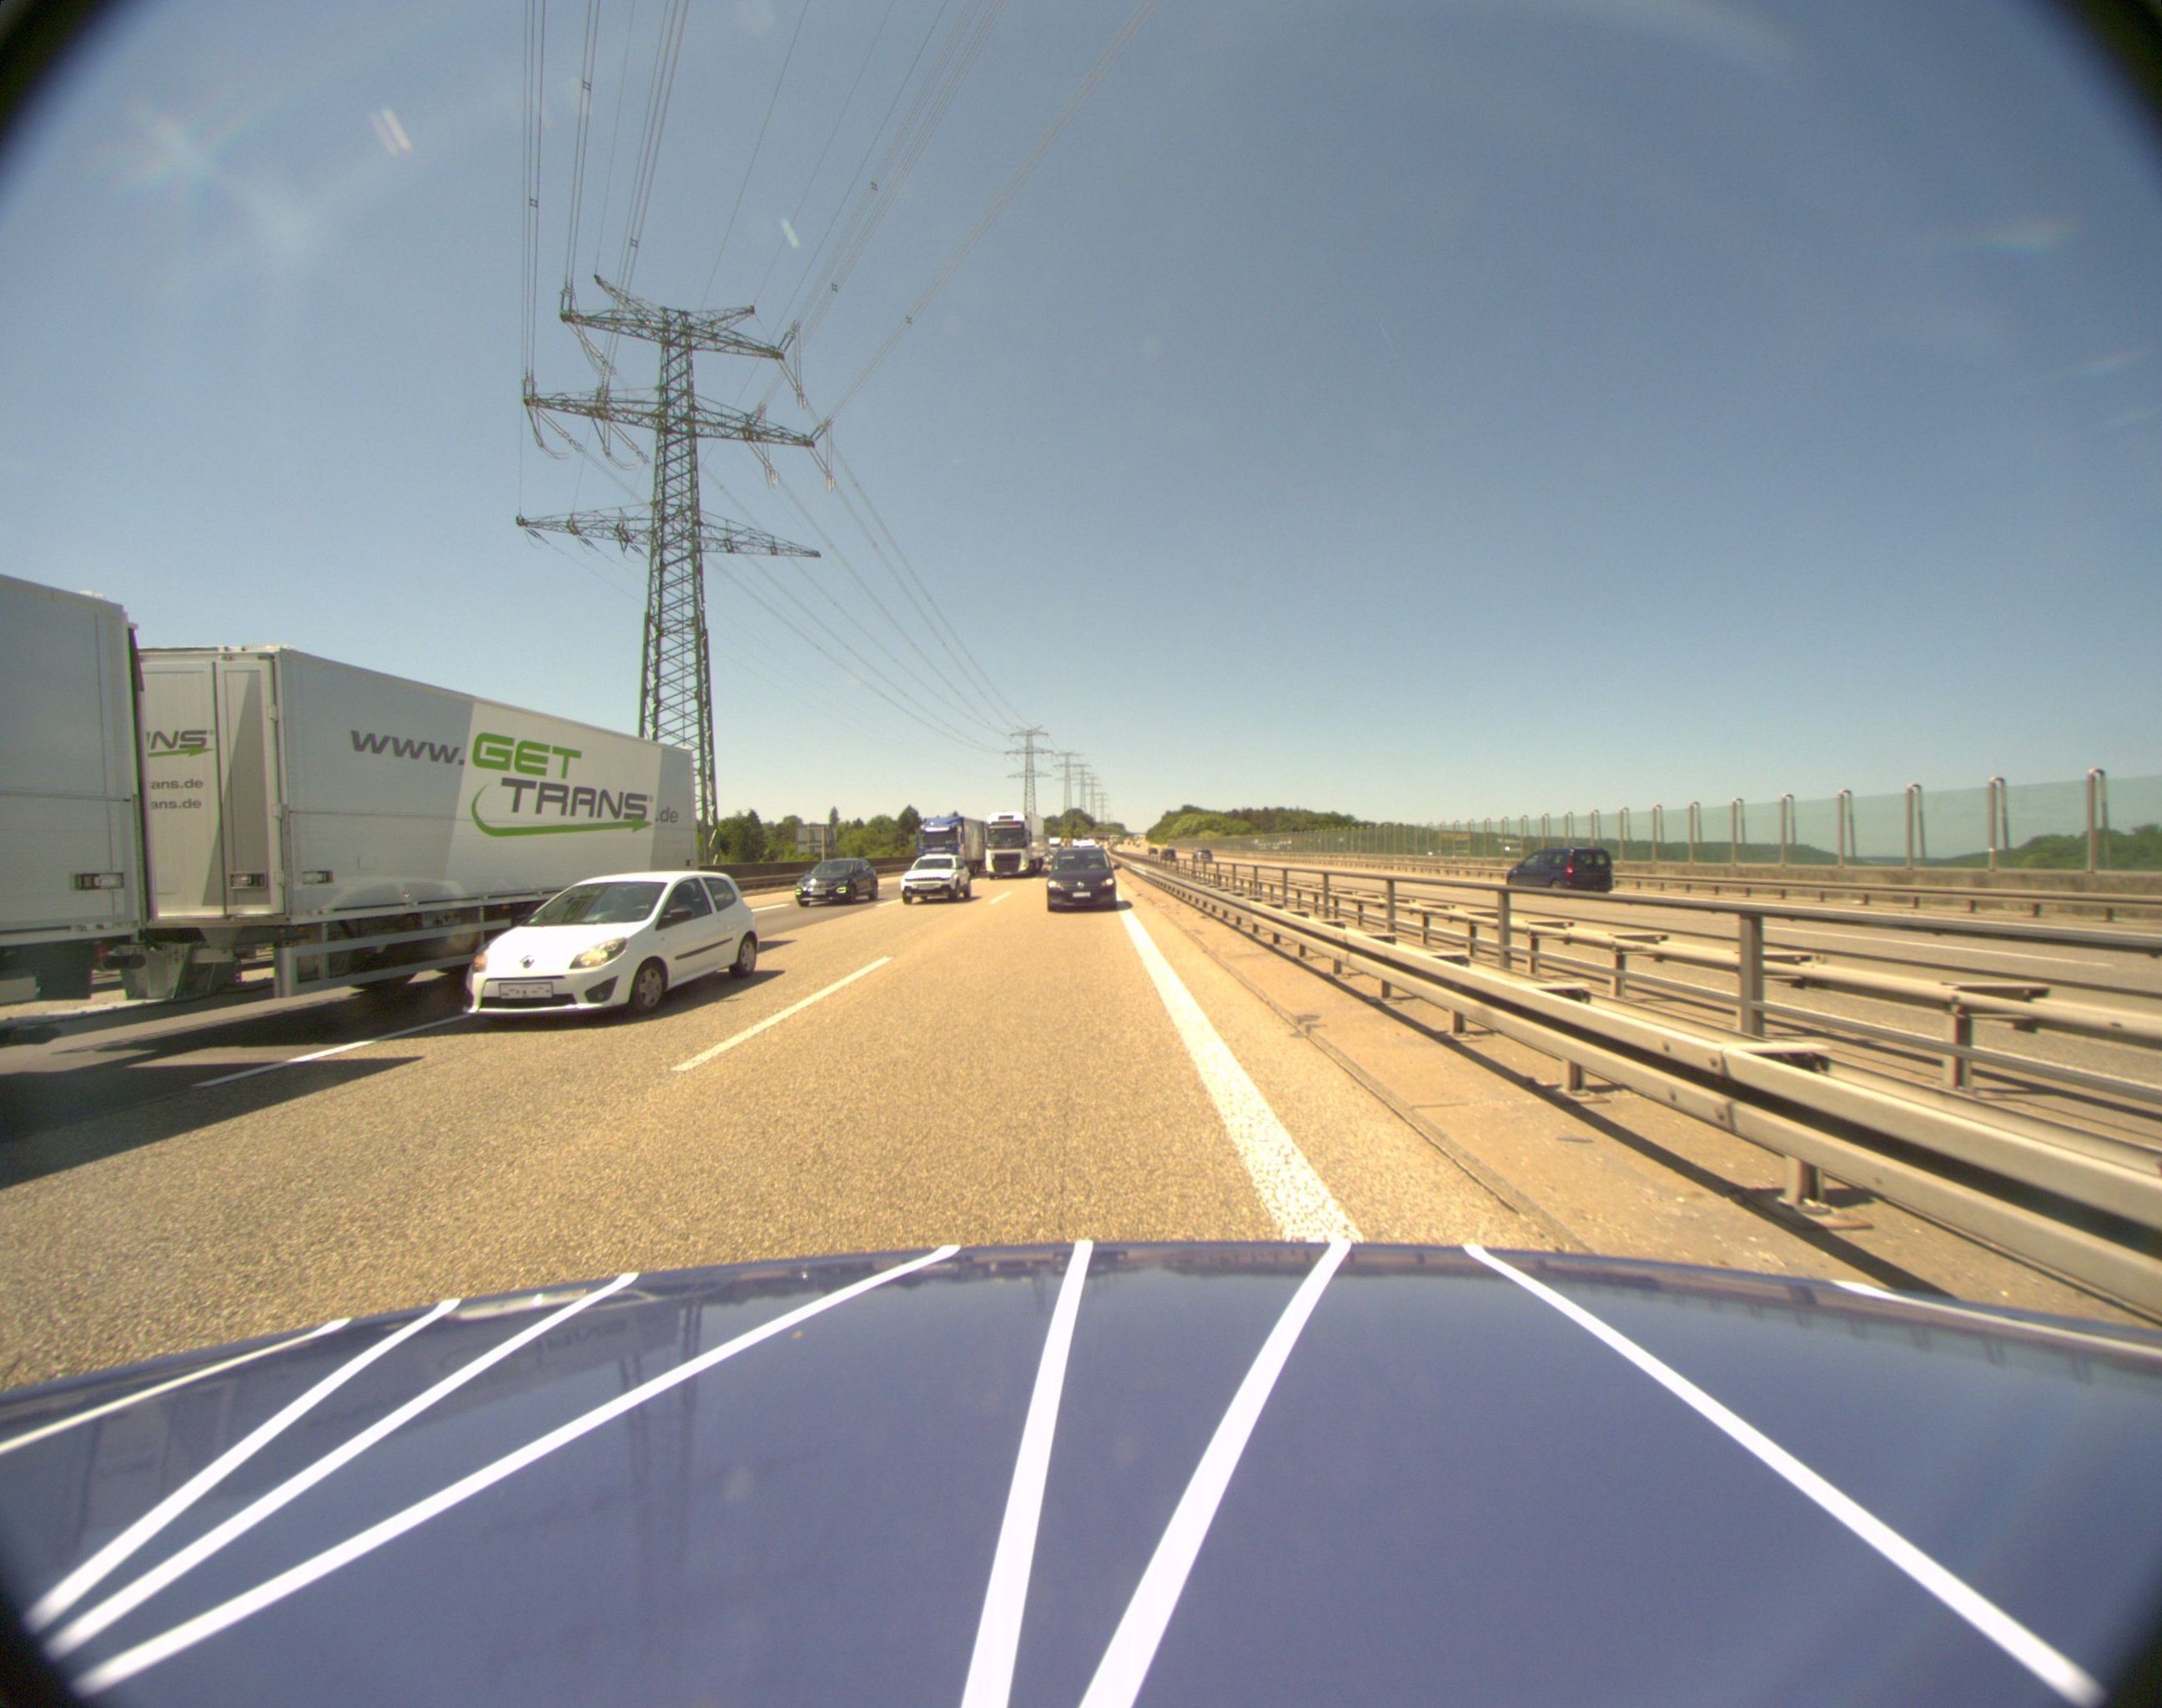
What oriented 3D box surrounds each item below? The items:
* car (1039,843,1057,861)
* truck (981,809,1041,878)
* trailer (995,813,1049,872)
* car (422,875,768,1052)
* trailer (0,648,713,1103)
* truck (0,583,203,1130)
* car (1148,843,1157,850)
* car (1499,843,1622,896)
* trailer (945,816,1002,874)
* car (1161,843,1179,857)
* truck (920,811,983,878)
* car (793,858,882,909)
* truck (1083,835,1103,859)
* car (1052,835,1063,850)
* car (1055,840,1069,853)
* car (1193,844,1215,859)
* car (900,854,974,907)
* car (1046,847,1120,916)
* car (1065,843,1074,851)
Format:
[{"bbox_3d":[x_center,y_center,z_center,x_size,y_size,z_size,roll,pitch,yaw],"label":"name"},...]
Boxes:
[{"bbox_3d":[-3.529,-0.194,81.425,1.672,1.761,3.846,-3,1,1],"label":"car"},{"bbox_3d":[-4.204,-0.692,47.224,2.914,3.870,6.739,-3,1,0],"label":"truck"},{"bbox_3d":[-4.146,-0.876,55.494,2.898,3.847,9.772,-3,1,1],"label":"trailer"},{"bbox_3d":[-5.214,1.057,8.801,1.583,1.432,3.629,-2,1,1],"label":"car"},{"bbox_3d":[-8.487,0.169,10.217,2.851,3.574,8.290,-2,1,0],"label":"trailer"},{"bbox_3d":[-8.501,0.097,0.630,2.858,3.582,10.767,-3,1,0],"label":"truck"},{"bbox_3d":[15.919,-1.598,169.121,1.784,1.560,4.387,1,1,3],"label":"car"},{"bbox_3d":[17.323,0.507,27.711,1.787,1.774,4.301,0,1,0],"label":"car"},{"bbox_3d":[-8.212,-0.739,59.423,2.543,3.971,10.883,-3,1,1],"label":"trailer"},{"bbox_3d":[10.932,-0.537,93.369,1.759,1.711,4.100,0,1,1],"label":"car"},{"bbox_3d":[-8.356,-0.596,50.003,2.517,3.945,7.926,-2,1,1],"label":"truck"},{"bbox_3d":[-8.273,0.946,26.201,1.709,1.497,3.888,-2,1,1],"label":"car"},{"bbox_3d":[1.446,-0.850,90.808,2.100,2.700,5.864,-3,1,1],"label":"truck"},{"bbox_3d":[-5.304,-2.635,173.820,2.273,3.304,6.287,-3,1,0],"label":"car"},{"bbox_3d":[-2.991,-1.193,119.045,1.998,2.002,3.999,-3,1,1],"label":"car"},{"bbox_3d":[13.414,-0.268,82.911,1.759,1.538,3.999,1,1,1],"label":"car"},{"bbox_3d":[-4.741,0.831,25.540,1.722,1.526,3.753,-2,1,0],"label":"car"},{"bbox_3d":[0.048,0.644,20.306,1.739,1.607,3.911,-2,1,0],"label":"car"},{"bbox_3d":[-2.264,-1.379,150.979,1.701,1.599,3.639,-3,1,1],"label":"car"}]
